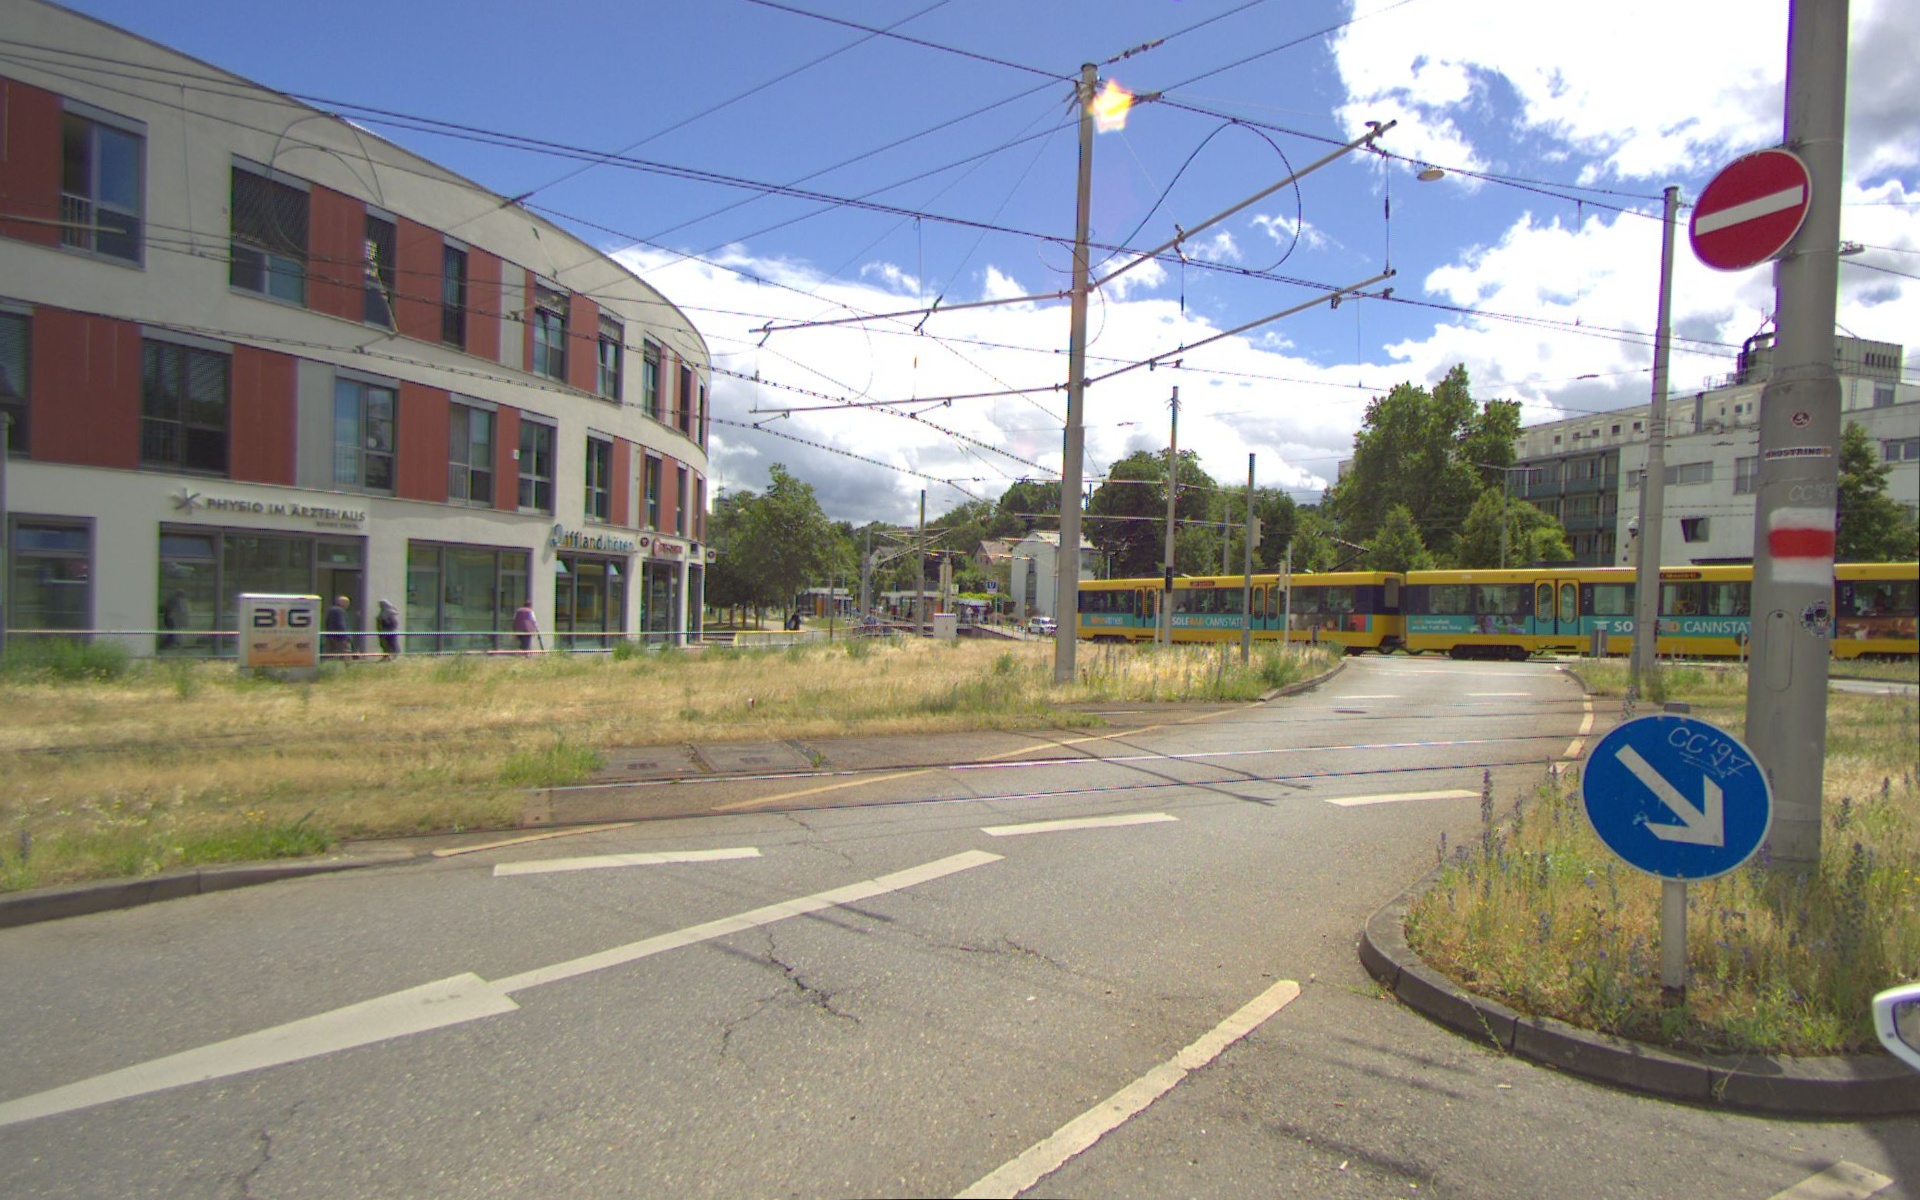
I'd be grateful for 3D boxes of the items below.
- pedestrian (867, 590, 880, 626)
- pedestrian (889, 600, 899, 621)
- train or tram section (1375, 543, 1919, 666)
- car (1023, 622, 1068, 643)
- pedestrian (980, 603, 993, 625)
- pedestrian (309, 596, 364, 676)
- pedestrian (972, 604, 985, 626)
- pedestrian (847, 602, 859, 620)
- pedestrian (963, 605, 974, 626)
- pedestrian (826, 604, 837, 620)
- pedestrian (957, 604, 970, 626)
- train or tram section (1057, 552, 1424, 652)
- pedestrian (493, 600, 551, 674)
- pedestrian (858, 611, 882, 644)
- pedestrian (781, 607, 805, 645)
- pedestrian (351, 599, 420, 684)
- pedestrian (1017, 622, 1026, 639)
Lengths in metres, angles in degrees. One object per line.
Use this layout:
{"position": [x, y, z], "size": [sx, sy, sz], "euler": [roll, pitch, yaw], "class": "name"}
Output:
{"position": [-14.932, 1.375, 173.218], "size": [1.964, 5.998, 2.368], "euler": [2, -1, -9], "class": "pedestrian"}
{"position": [-6.717, 1.082, 102.284], "size": [0.807, 2.040, 0.771], "euler": [2, -1, -15], "class": "pedestrian"}
{"position": [25.970, 0.157, 36.528], "size": [19.792, 3.880, 3.754], "euler": [1, -2, 31], "class": "train or tram section"}
{"position": [6.793, 2.591, 80.363], "size": [1.908, 1.575, 4.474], "euler": [2, -2, -18], "class": "car"}
{"position": [2.087, 1.121, 79.680], "size": [0.824, 1.714, 0.616], "euler": [1, 0, -16], "class": "pedestrian"}
{"position": [-12.833, 0.725, 20.670], "size": [0.722, 1.601, 0.690], "euler": [0, -1, 31], "class": "pedestrian"}
{"position": [1.478, 1.225, 81.051], "size": [0.824, 1.755, 0.795], "euler": [1, 0, -16], "class": "pedestrian"}
{"position": [-12.769, 1.318, 119.950], "size": [1.241, 2.040, 1.121], "euler": [2, -1, -19], "class": "pedestrian"}
{"position": [0.724, 1.270, 82.492], "size": [0.744, 1.707, 0.671], "euler": [1, 0, -16], "class": "pedestrian"}
{"position": [-17.021, 1.581, 133.406], "size": [1.241, 2.040, 1.121], "euler": [2, -1, -19], "class": "pedestrian"}
{"position": [0.305, 1.204, 81.761], "size": [0.824, 1.777, 0.795], "euler": [1, 0, -16], "class": "pedestrian"}
{"position": [12.465, 0.201, 48.712], "size": [3.727, 3.970, 18.695], "euler": [2, -2, -37], "class": "train or tram section"}
{"position": [-12.019, 1.010, 27.585], "size": [0.849, 1.994, 1.104], "euler": [1, -1, 30], "class": "pedestrian"}
{"position": [-4.669, 1.438, 52.374], "size": [1.015, 1.646, 0.985], "euler": [1, -1, 8], "class": "pedestrian"}
{"position": [-7.472, 1.163, 44.964], "size": [0.847, 1.646, 0.733], "euler": [1, -1, 7], "class": "pedestrian"}
{"position": [-13.888, 0.999, 24.302], "size": [0.849, 1.994, 1.114], "euler": [1, -1, 29], "class": "pedestrian"}
{"position": [7.024, 3.466, 114.340], "size": [0.818, 1.891, 0.817], "euler": [1, 0, -16], "class": "pedestrian"}
